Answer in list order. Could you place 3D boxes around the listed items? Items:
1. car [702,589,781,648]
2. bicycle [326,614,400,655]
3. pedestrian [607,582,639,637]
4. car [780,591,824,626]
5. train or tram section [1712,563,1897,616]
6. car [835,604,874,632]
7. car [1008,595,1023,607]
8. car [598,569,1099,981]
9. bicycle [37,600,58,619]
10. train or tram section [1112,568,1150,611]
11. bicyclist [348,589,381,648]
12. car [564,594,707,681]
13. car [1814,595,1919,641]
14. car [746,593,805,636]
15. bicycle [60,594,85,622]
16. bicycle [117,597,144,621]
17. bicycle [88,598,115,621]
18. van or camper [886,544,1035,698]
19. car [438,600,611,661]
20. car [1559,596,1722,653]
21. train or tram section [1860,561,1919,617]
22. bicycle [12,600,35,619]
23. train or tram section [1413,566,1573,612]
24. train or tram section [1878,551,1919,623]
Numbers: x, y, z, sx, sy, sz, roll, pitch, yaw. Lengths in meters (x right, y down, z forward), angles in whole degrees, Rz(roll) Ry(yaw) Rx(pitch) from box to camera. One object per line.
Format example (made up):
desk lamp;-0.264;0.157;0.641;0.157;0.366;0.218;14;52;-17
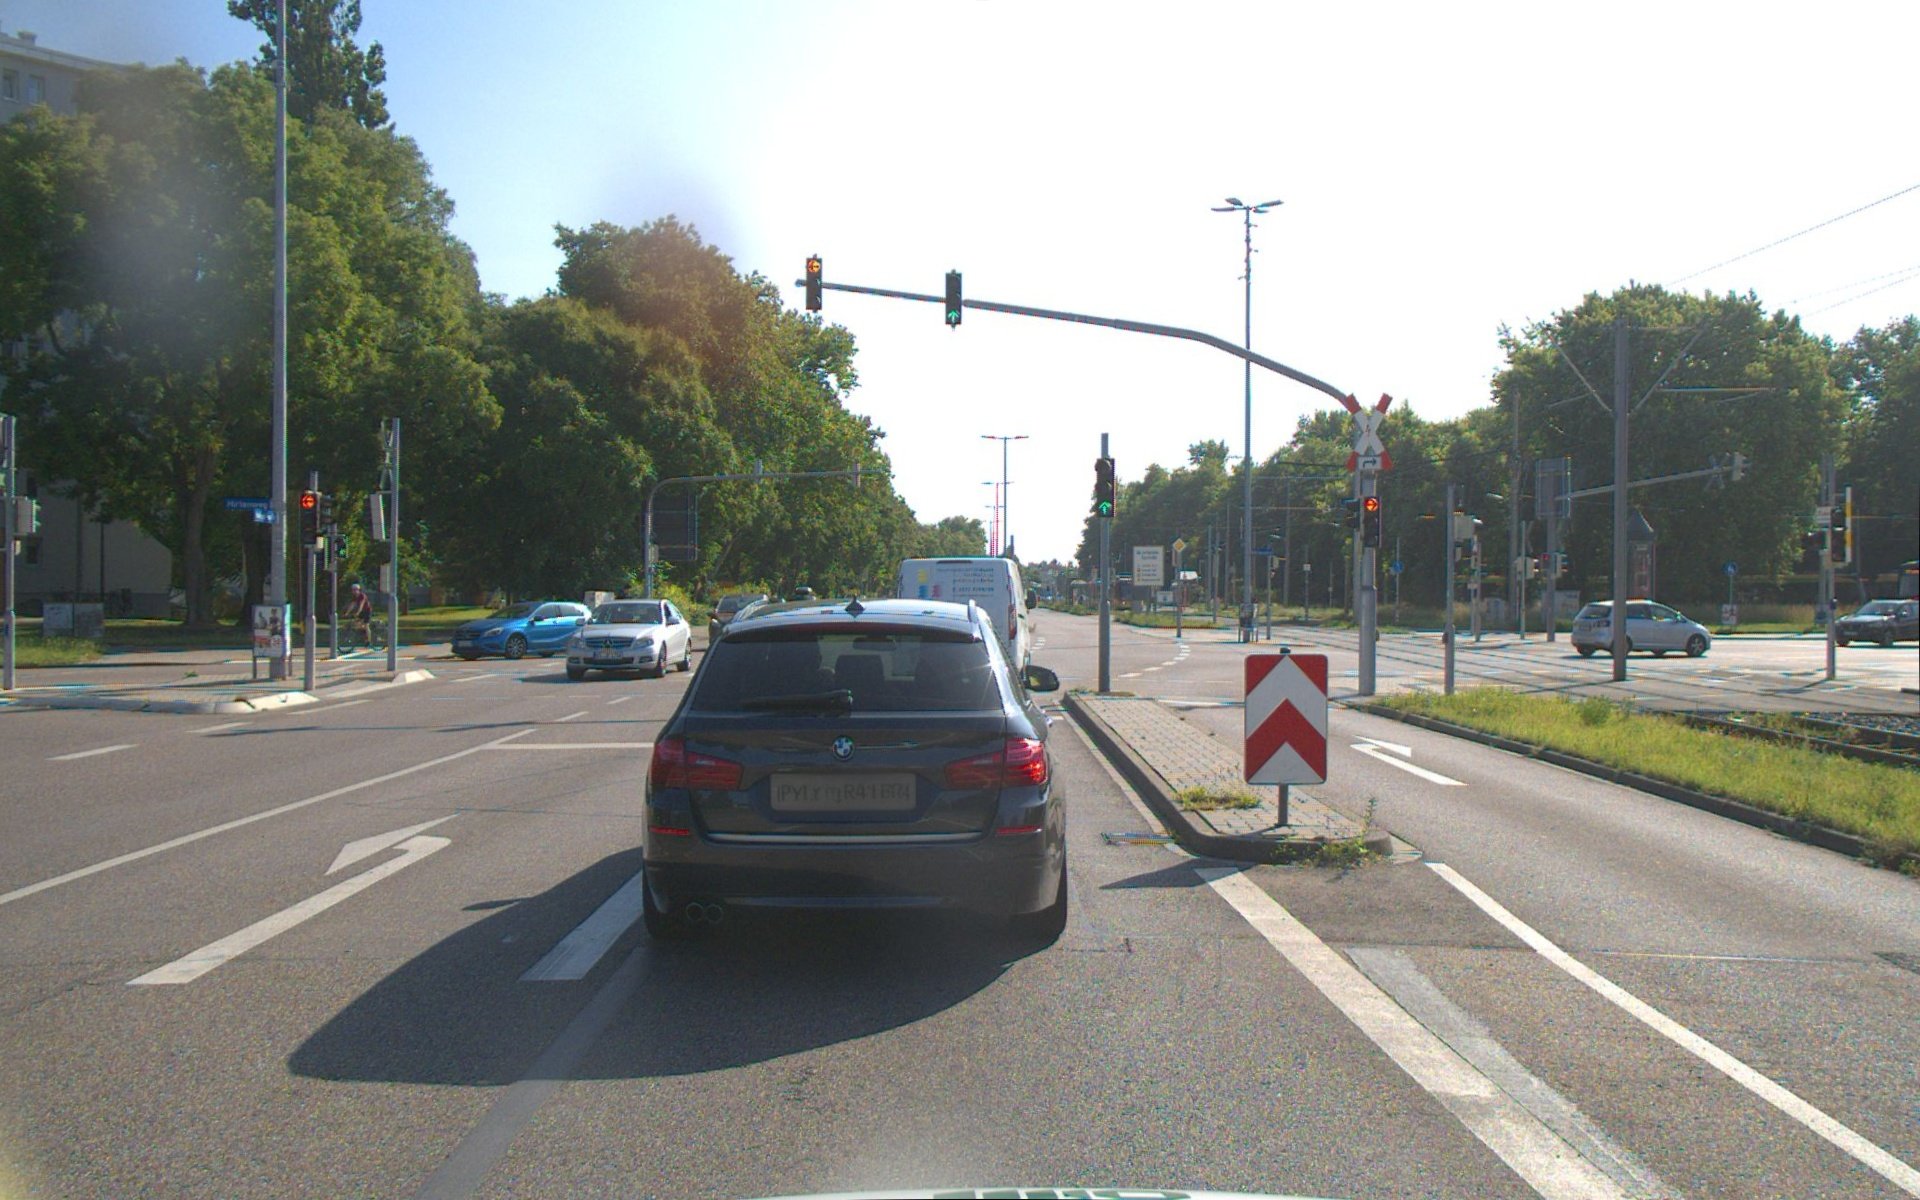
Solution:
car;-6.295;0.506;47.938;1.709;1.589;4.000;-2;0;0
bicycle;-16.387;0.935;45.459;0.607;1.058;2.069;0;0;27
pedestrian;-11.069;0.319;54.317;0.798;1.782;0.932;0;0;5
car;-7.212;0.361;75.798;1.753;1.546;3.998;-1;0;-3
train or tram section;60.935;-0.734;119.811;3.017;3.642;12.087;0;0;-34
car;-6.602;1.111;103.889;1.947;1.688;4.386;1;0;3
car;6.885;0.080;205.183;1.756;1.512;3.900;0;0;0
car;-0.443;0.648;8.208;1.864;1.532;4.064;0;0;-1
bicycle;-35.876;0.369;65.025;0.501;0.721;2.090;0;0;-35
train or tram section;15.659;-0.876;151.989;2.738;3.682;12.960;1;0;3
bicyclist;-16.380;0.503;45.471;0.595;1.587;0.602;0;0;27
car;-6.106;0.661;31.582;1.667;1.490;4.371;-1;0;2
car;32.839;0.614;58.870;4.792;1.590;2.025;0;0;-29
car;-6.785;0.511;61.143;1.851;1.499;4.098;-1;0;-3
bicycle;-35.065;0.335;65.345;0.606;1.085;1.892;1;-2;-37
bicycle;-33.466;0.363;66.739;0.663;0.936;2.377;0;0;-35
bicycle;-34.334;0.363;66.115;0.668;0.891;2.455;0;0;-35
van or camper;0.105;0.281;25.357;1.951;2.133;4.601;0;0;4
car;-10.997;0.739;41.995;1.747;1.439;4.234;0;0;32
car;19.736;0.697;48.032;4.119;1.590;1.849;0;0;-14
train or tram section;63.751;-0.727;108.411;2.981;3.642;12.231;0;0;0
bicycle;-36.597;0.357;64.621;0.578;0.721;2.211;0;0;-35
train or tram section;43.531;-0.895;135.412;12.170;3.642;3.048;0;0;31
train or tram section;52.984;-0.645;87.698;11.721;3.642;3.015;0;0;-37
